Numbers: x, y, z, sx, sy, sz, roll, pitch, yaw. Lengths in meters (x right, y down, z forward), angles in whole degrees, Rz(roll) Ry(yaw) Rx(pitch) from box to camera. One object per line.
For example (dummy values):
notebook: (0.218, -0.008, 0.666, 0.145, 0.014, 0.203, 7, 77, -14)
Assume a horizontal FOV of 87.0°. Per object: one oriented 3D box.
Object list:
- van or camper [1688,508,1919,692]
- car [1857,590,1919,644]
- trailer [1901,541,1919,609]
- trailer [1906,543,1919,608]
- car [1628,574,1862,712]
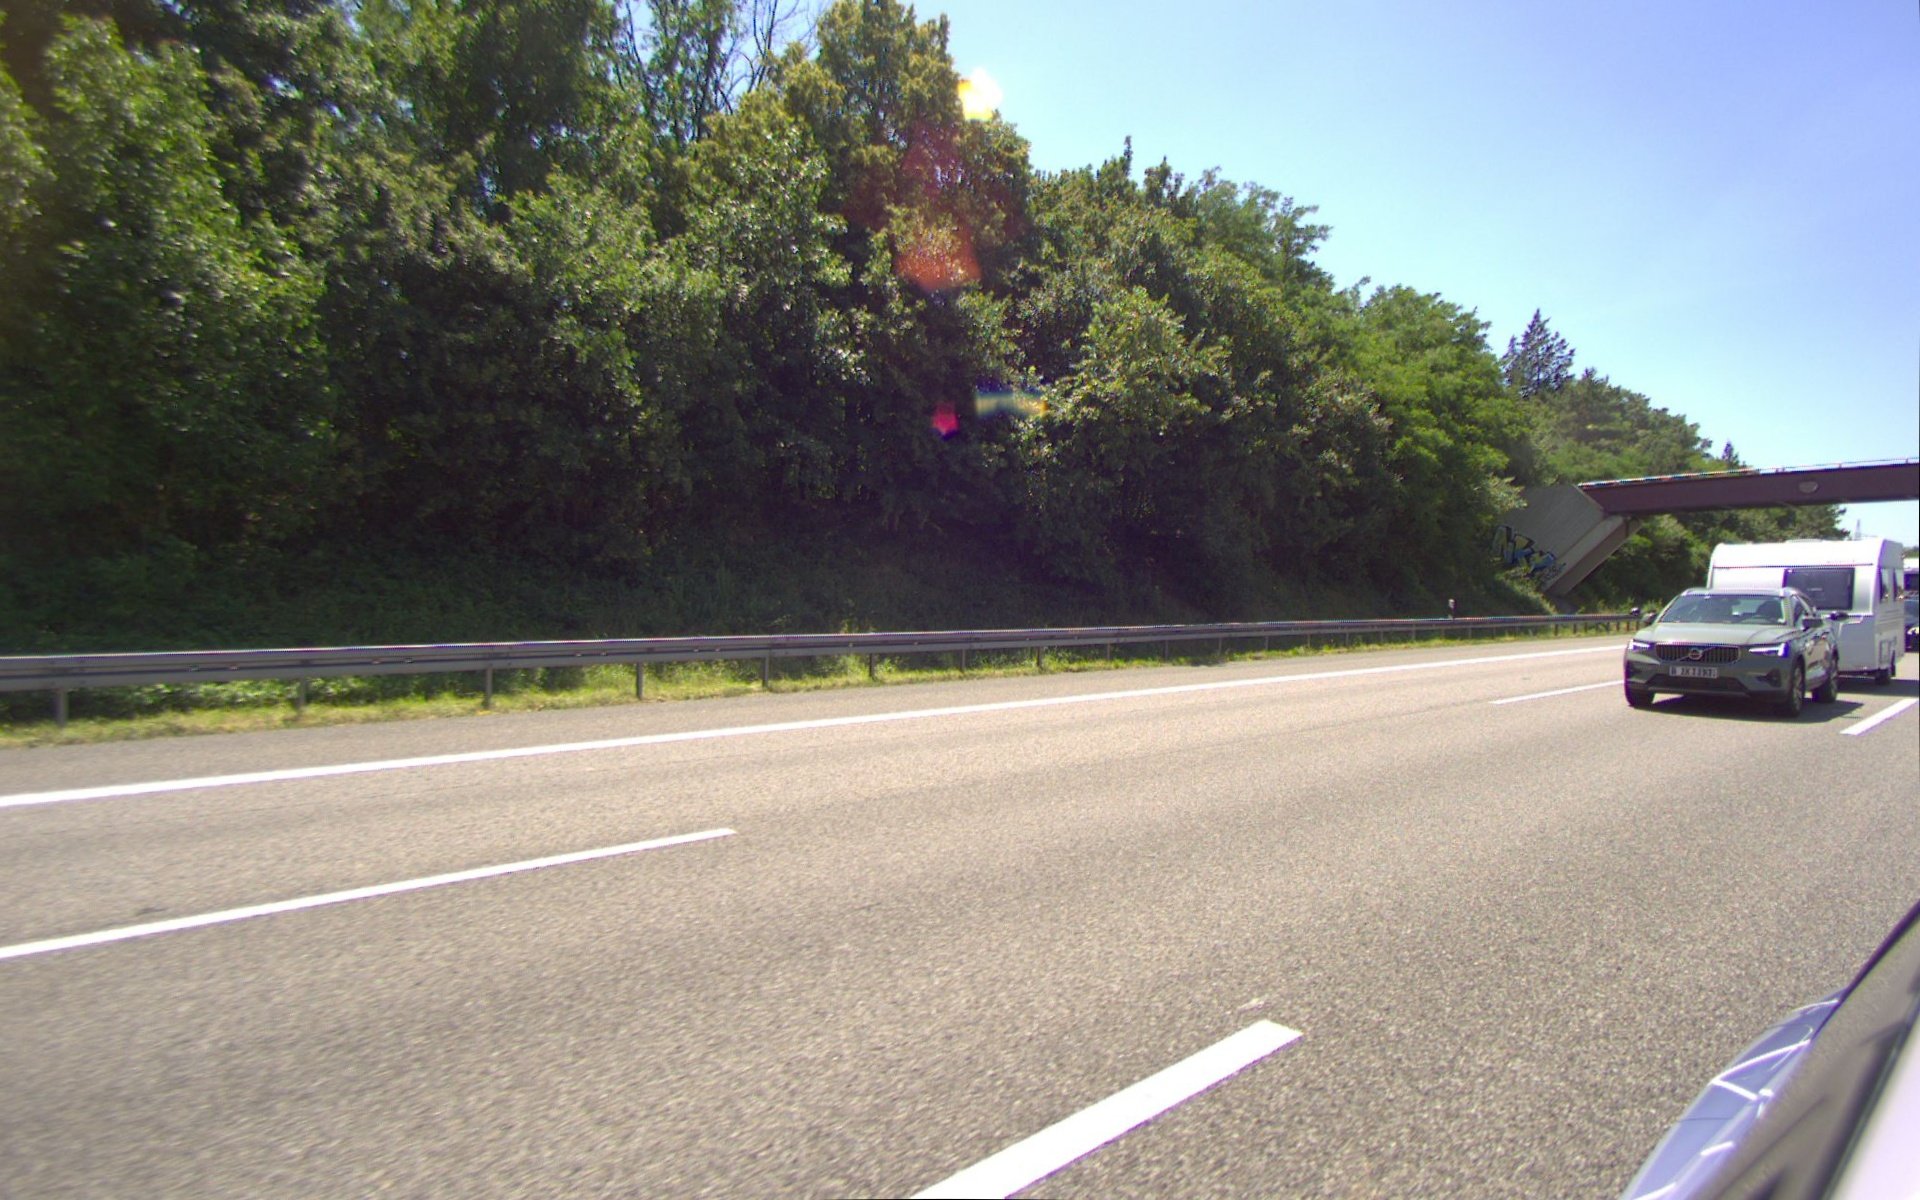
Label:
van or camper: (15.166, -0.027, 17.878, 6.240, 2.708, 2.443, 0, 1, -42)
car: (28.130, 0.484, 29.929, 4.656, 1.525, 1.843, 0, -1, -42)
trailer: (61.509, -1.497, 63.792, 6.674, 4.154, 2.716, 0, 1, -43)
trailer: (66.537, -1.531, 68.497, 12.966, 4.154, 2.732, 0, 1, -43)
car: (11.155, 0.495, 14.255, 4.622, 1.632, 1.881, 0, 1, -43)
